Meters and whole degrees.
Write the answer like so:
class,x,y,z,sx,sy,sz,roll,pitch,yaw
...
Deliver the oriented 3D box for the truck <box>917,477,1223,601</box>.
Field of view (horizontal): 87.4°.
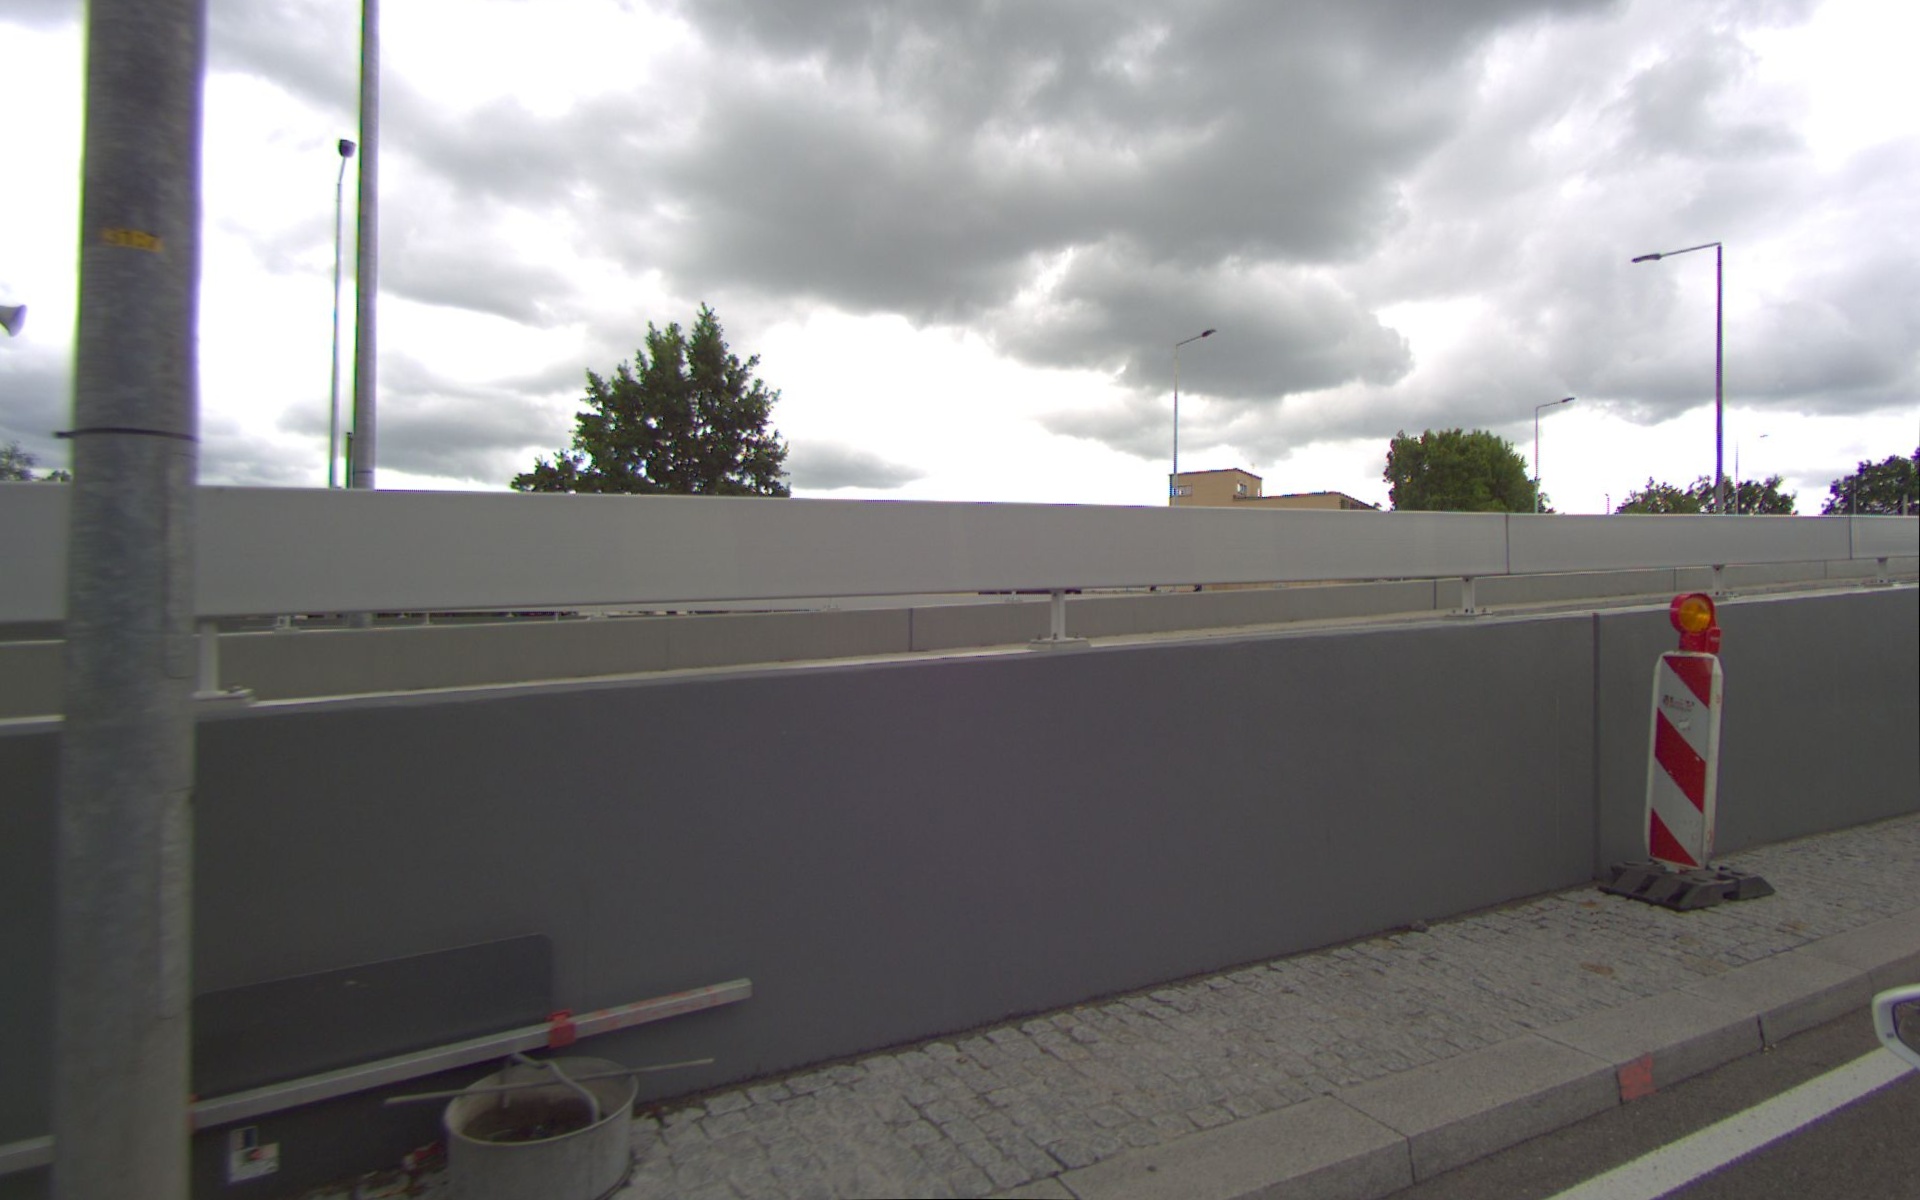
class,x,y,z,sx,sy,sz,roll,pitch,yaw
truck,3.808,-1.909,32.082,10.508,3.436,2.715,-2,3,-34
